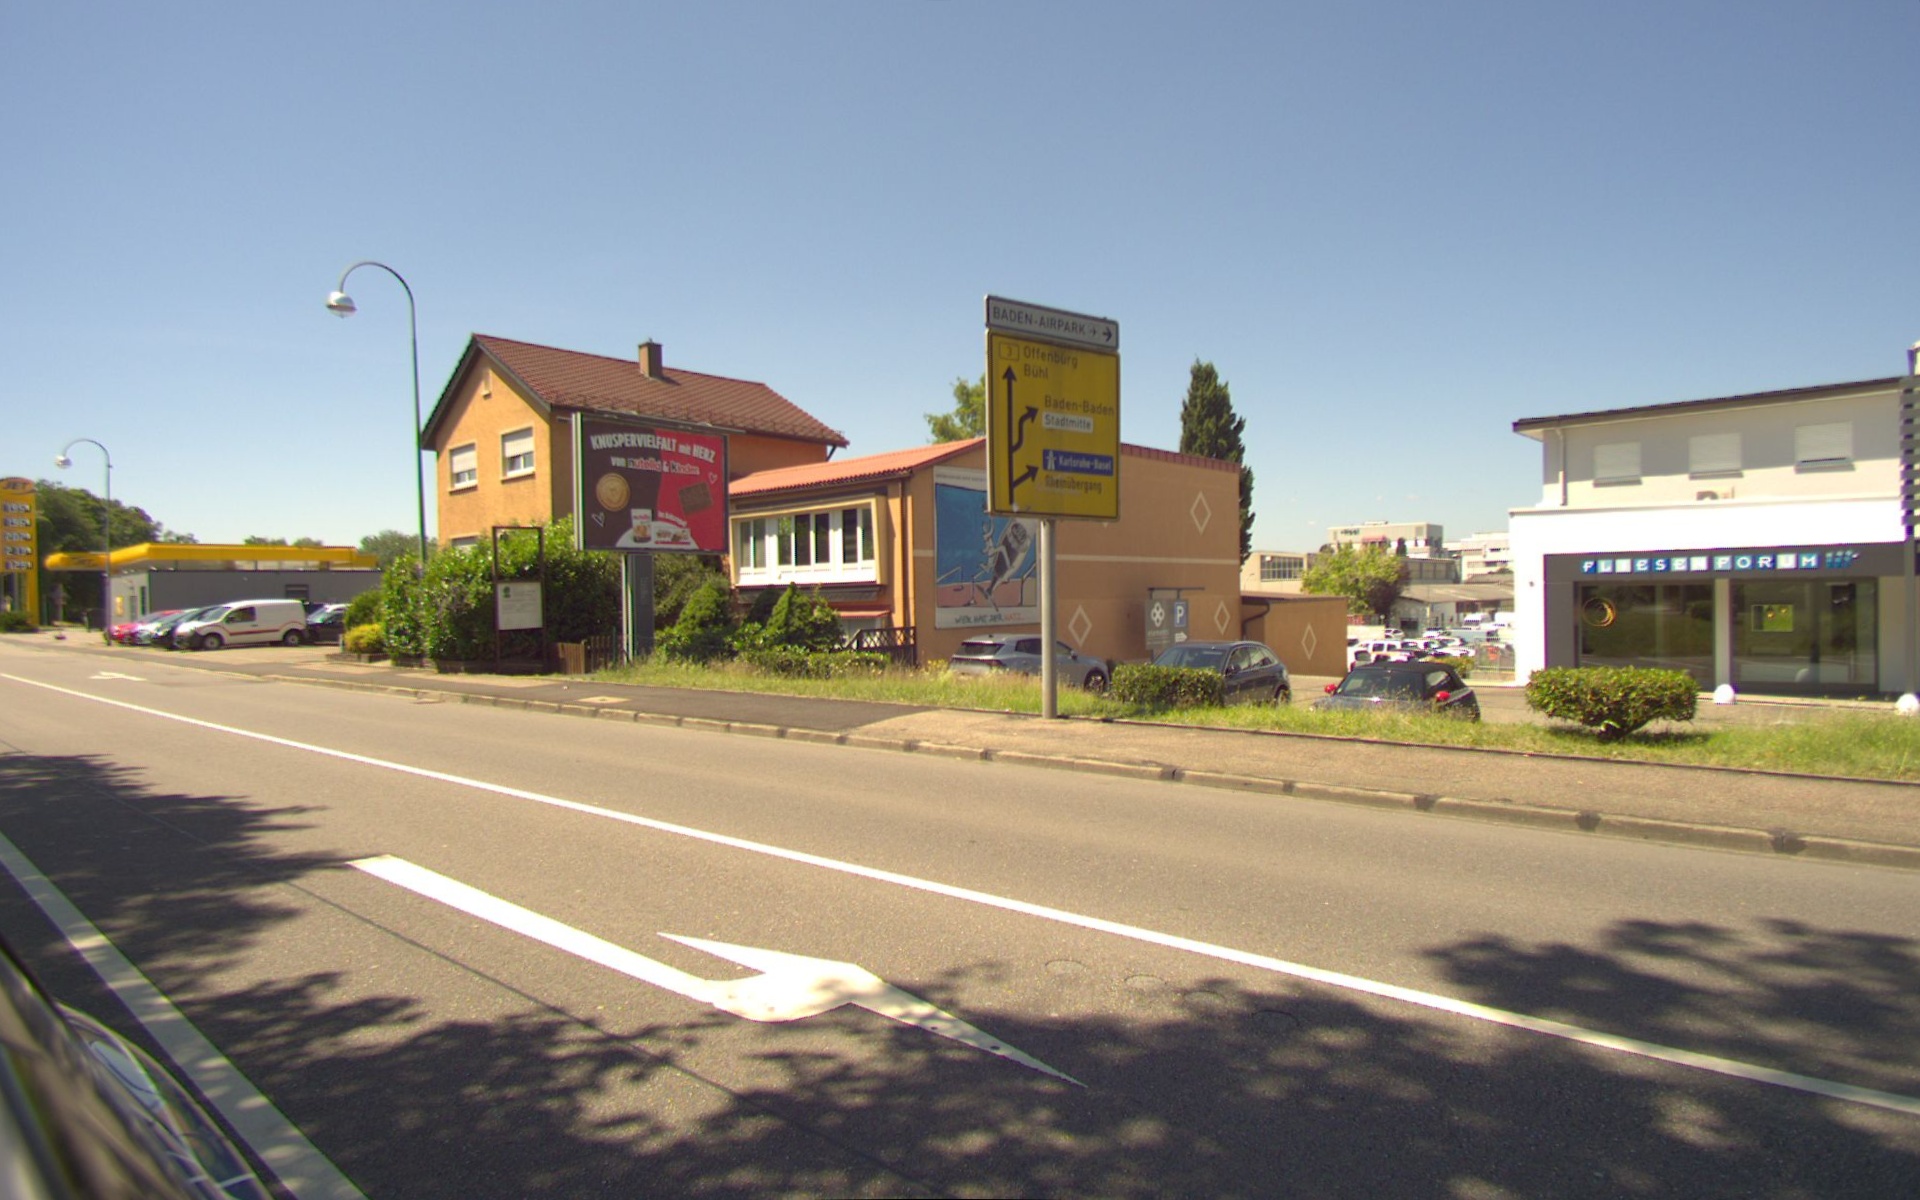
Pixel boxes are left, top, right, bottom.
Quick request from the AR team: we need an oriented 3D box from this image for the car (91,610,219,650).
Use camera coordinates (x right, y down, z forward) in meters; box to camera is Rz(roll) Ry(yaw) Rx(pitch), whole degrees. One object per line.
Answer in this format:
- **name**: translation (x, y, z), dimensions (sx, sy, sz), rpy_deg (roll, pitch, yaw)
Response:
- **car**: translation (-37.769, 1.358, 47.582), dimensions (1.871, 1.773, 4.351), rpy_deg (-1, -1, 35)

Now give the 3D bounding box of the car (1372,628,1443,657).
- **car**: translation (28.299, 2.671, 64.045), dimensions (3.774, 1.768, 1.707), rpy_deg (-1, -1, 44)

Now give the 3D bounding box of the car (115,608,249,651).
- **car**: translation (-34.161, 1.261, 44.553), dimensions (1.871, 1.773, 4.351), rpy_deg (-1, -1, 35)

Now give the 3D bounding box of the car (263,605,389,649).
- **car**: translation (-28.015, 1.154, 44.836), dimensions (1.871, 1.839, 4.351), rpy_deg (0, 0, 35)

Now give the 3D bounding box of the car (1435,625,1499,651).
- **car**: translation (36.534, 2.731, 72.972), dimensions (3.774, 1.768, 1.707), rpy_deg (-1, -1, 44)

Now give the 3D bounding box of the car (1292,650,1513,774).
- **car**: translation (7.087, 1.654, 16.024), dimensions (4.039, 1.544, 1.772), rpy_deg (0, -1, -44)

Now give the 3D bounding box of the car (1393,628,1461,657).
- **car**: translation (31.108, 2.804, 67.428), dimensions (3.774, 1.768, 1.707), rpy_deg (-1, -1, 44)

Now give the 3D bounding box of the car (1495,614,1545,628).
- **car**: translation (71.712, 2.640, 129.607), dimensions (5.303, 1.768, 2.037), rpy_deg (-1, -1, 44)

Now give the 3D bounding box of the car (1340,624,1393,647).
- **car**: translation (33.941, 2.947, 84.533), dimensions (3.774, 1.768, 1.707), rpy_deg (-1, -1, 44)

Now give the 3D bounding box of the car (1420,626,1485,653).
- **car**: translation (34.437, 2.756, 70.774), dimensions (3.774, 1.768, 1.707), rpy_deg (-1, -1, 44)

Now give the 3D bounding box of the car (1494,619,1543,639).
- **car**: translation (53.180, 2.749, 96.445), dimensions (3.774, 1.768, 1.707), rpy_deg (-1, 2, 44)

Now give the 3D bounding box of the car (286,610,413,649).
- **car**: translation (-26.171, 1.243, 43.512), dimensions (1.871, 1.575, 4.351), rpy_deg (-1, -1, 35)

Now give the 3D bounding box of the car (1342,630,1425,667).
- **car**: translation (24.445, 2.762, 58.486), dimensions (4.001, 2.029, 1.971), rpy_deg (-1, -1, 44)

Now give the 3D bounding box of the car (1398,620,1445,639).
- **car**: translation (44.166, 2.819, 96.931), dimensions (3.774, 1.768, 1.707), rpy_deg (-1, 0, 44)

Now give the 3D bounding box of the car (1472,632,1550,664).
- **car**: translation (32.540, 2.790, 59.822), dimensions (3.774, 1.768, 1.707), rpy_deg (-1, -1, 44)

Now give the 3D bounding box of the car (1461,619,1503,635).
- **car**: translation (57.778, 2.986, 112.038), dimensions (3.775, 1.768, 1.706), rpy_deg (-1, 0, 45)

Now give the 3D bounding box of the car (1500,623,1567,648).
- **car**: translation (42.765, 2.645, 75.562), dimensions (4.055, 1.768, 1.707), rpy_deg (-1, -1, 44)

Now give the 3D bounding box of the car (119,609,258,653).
- **car**: translation (-32.654, 1.265, 42.968), dimensions (1.871, 1.773, 4.351), rpy_deg (-1, -1, 35)

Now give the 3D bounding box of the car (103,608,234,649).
- **car**: translation (-35.892, 1.264, 45.995), dimensions (1.871, 1.773, 4.351), rpy_deg (-1, -1, 35)

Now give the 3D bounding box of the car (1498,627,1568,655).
- **car**: translation (38.334, 2.711, 67.740), dimensions (3.774, 1.768, 1.707), rpy_deg (-1, -1, 44)

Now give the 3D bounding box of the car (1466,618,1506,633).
- **car**: translation (60.988, 2.946, 117.294), dimensions (3.774, 1.768, 1.707), rpy_deg (-1, -1, 44)

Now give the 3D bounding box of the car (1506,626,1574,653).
- **car**: translation (39.932, 2.690, 69.713), dimensions (3.774, 1.768, 1.707), rpy_deg (-1, -1, 44)

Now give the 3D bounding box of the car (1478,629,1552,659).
- **car**: translation (34.986, 2.755, 63.793), dimensions (3.774, 1.768, 1.707), rpy_deg (-1, -1, 44)

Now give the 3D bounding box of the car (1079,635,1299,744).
- **car**: translation (4.308, 1.518, 18.595), dimensions (4.462, 1.654, 1.772), rpy_deg (0, -1, -44)

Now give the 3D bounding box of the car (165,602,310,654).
- **car**: translation (-27.540, 1.044, 38.710), dimensions (1.871, 1.883, 4.143), rpy_deg (-1, -1, 35)

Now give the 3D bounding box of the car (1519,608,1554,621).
- **car**: translation (77.290, 1.966, 135.756), dimensions (3.774, 1.768, 1.707), rpy_deg (-1, -1, 44)

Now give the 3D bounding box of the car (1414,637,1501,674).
- **car**: translation (26.039, 2.878, 53.026), dimensions (3.774, 1.768, 1.707), rpy_deg (-1, -1, 44)

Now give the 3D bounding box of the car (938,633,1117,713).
- **car**: translation (1.638, 1.619, 23.623), dimensions (4.165, 1.621, 1.773), rpy_deg (0, -1, -42)

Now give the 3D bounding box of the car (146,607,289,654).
- **car**: translation (-29.201, 1.162, 39.928), dimensions (1.871, 1.773, 4.198), rpy_deg (-1, -1, 35)
